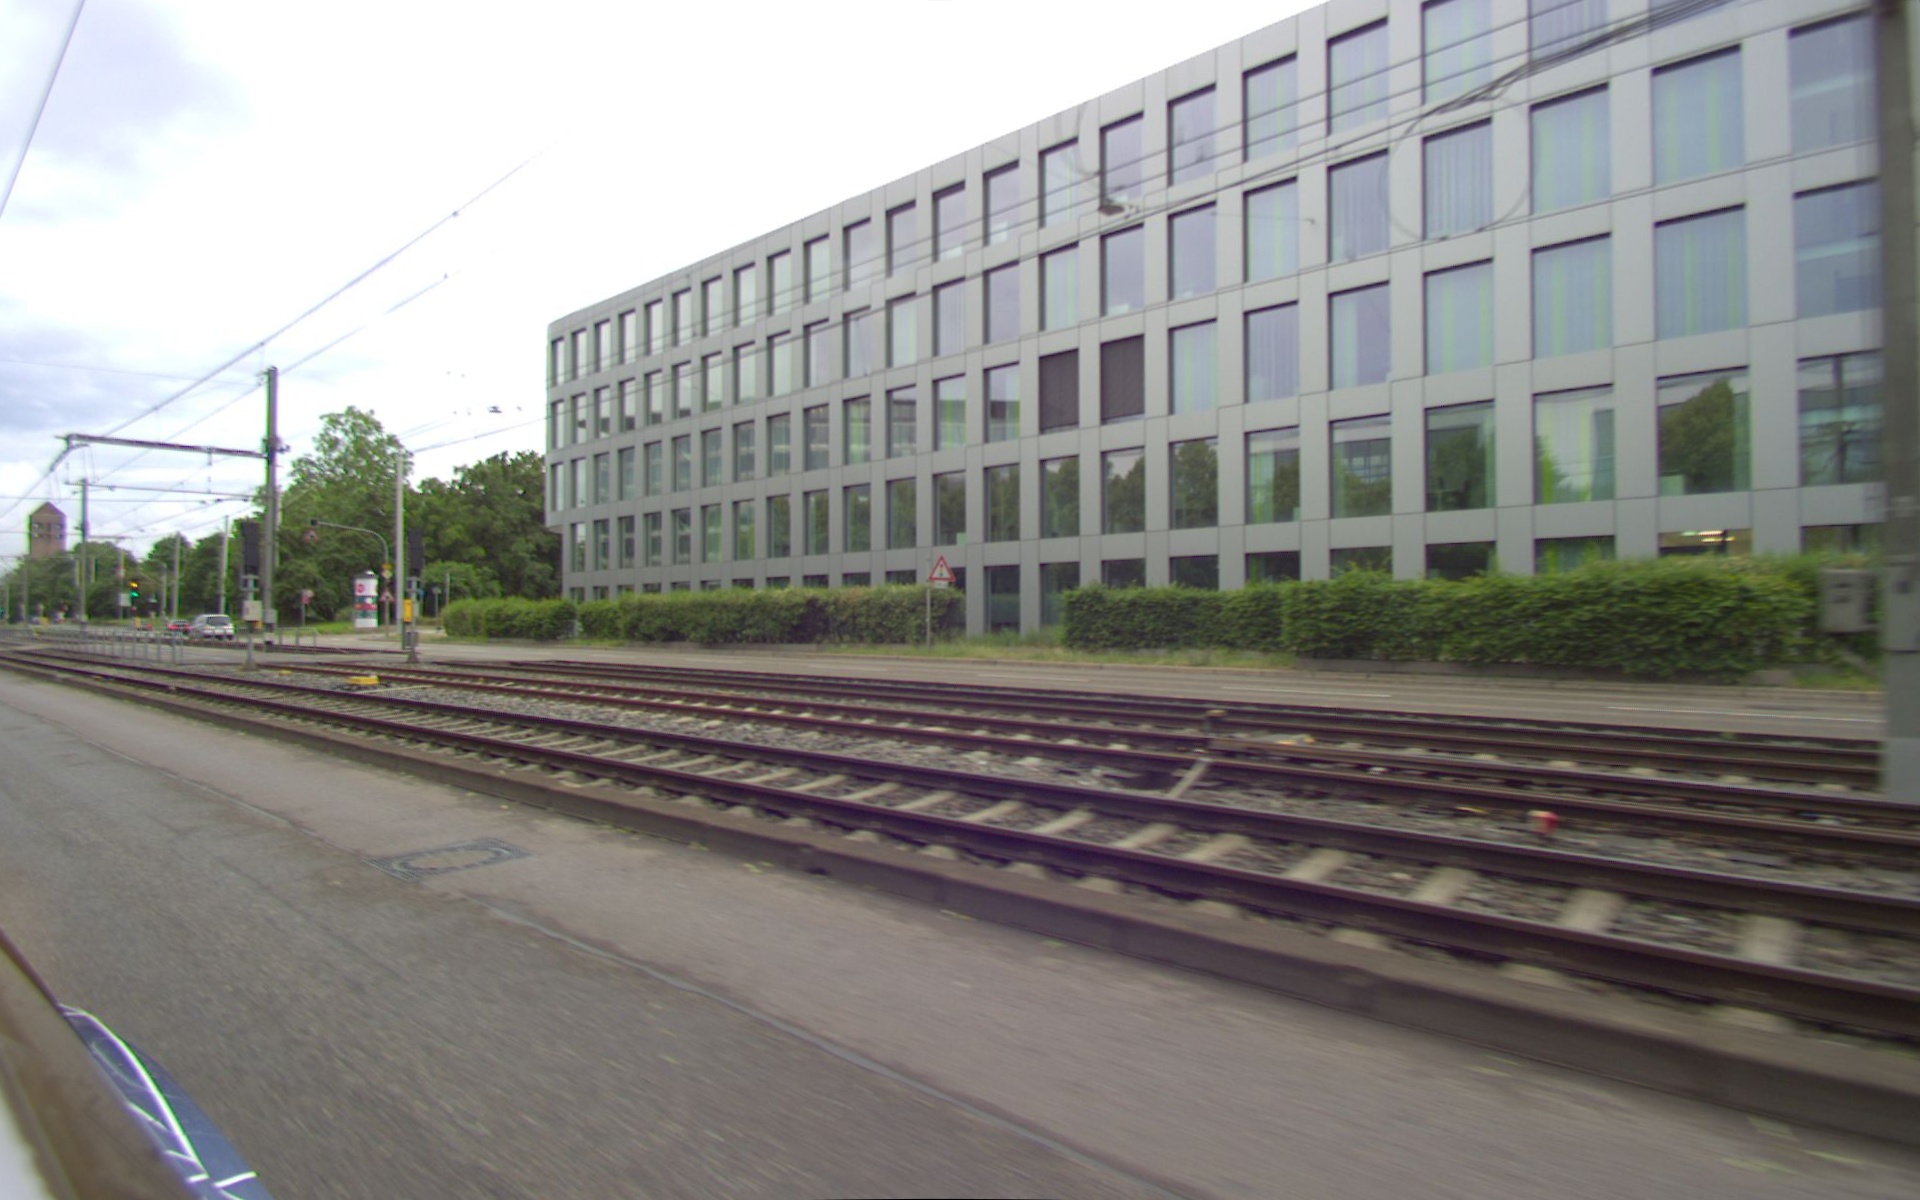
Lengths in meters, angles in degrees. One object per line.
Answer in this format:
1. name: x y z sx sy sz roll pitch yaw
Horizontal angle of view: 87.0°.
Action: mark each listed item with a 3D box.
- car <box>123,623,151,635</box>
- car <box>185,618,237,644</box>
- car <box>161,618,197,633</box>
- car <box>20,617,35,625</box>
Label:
1. car: -90.351 3.152 111.127 3.986 1.253 1.738 -1 -2 42
2. car: -49.537 2.039 66.927 4.884 1.657 1.882 -1 -2 43
3. car: -70.558 2.293 91.437 4.257 1.357 1.779 -1 -2 42
4. car: -161.051 3.598 174.795 3.901 1.408 1.741 -1 -2 44
